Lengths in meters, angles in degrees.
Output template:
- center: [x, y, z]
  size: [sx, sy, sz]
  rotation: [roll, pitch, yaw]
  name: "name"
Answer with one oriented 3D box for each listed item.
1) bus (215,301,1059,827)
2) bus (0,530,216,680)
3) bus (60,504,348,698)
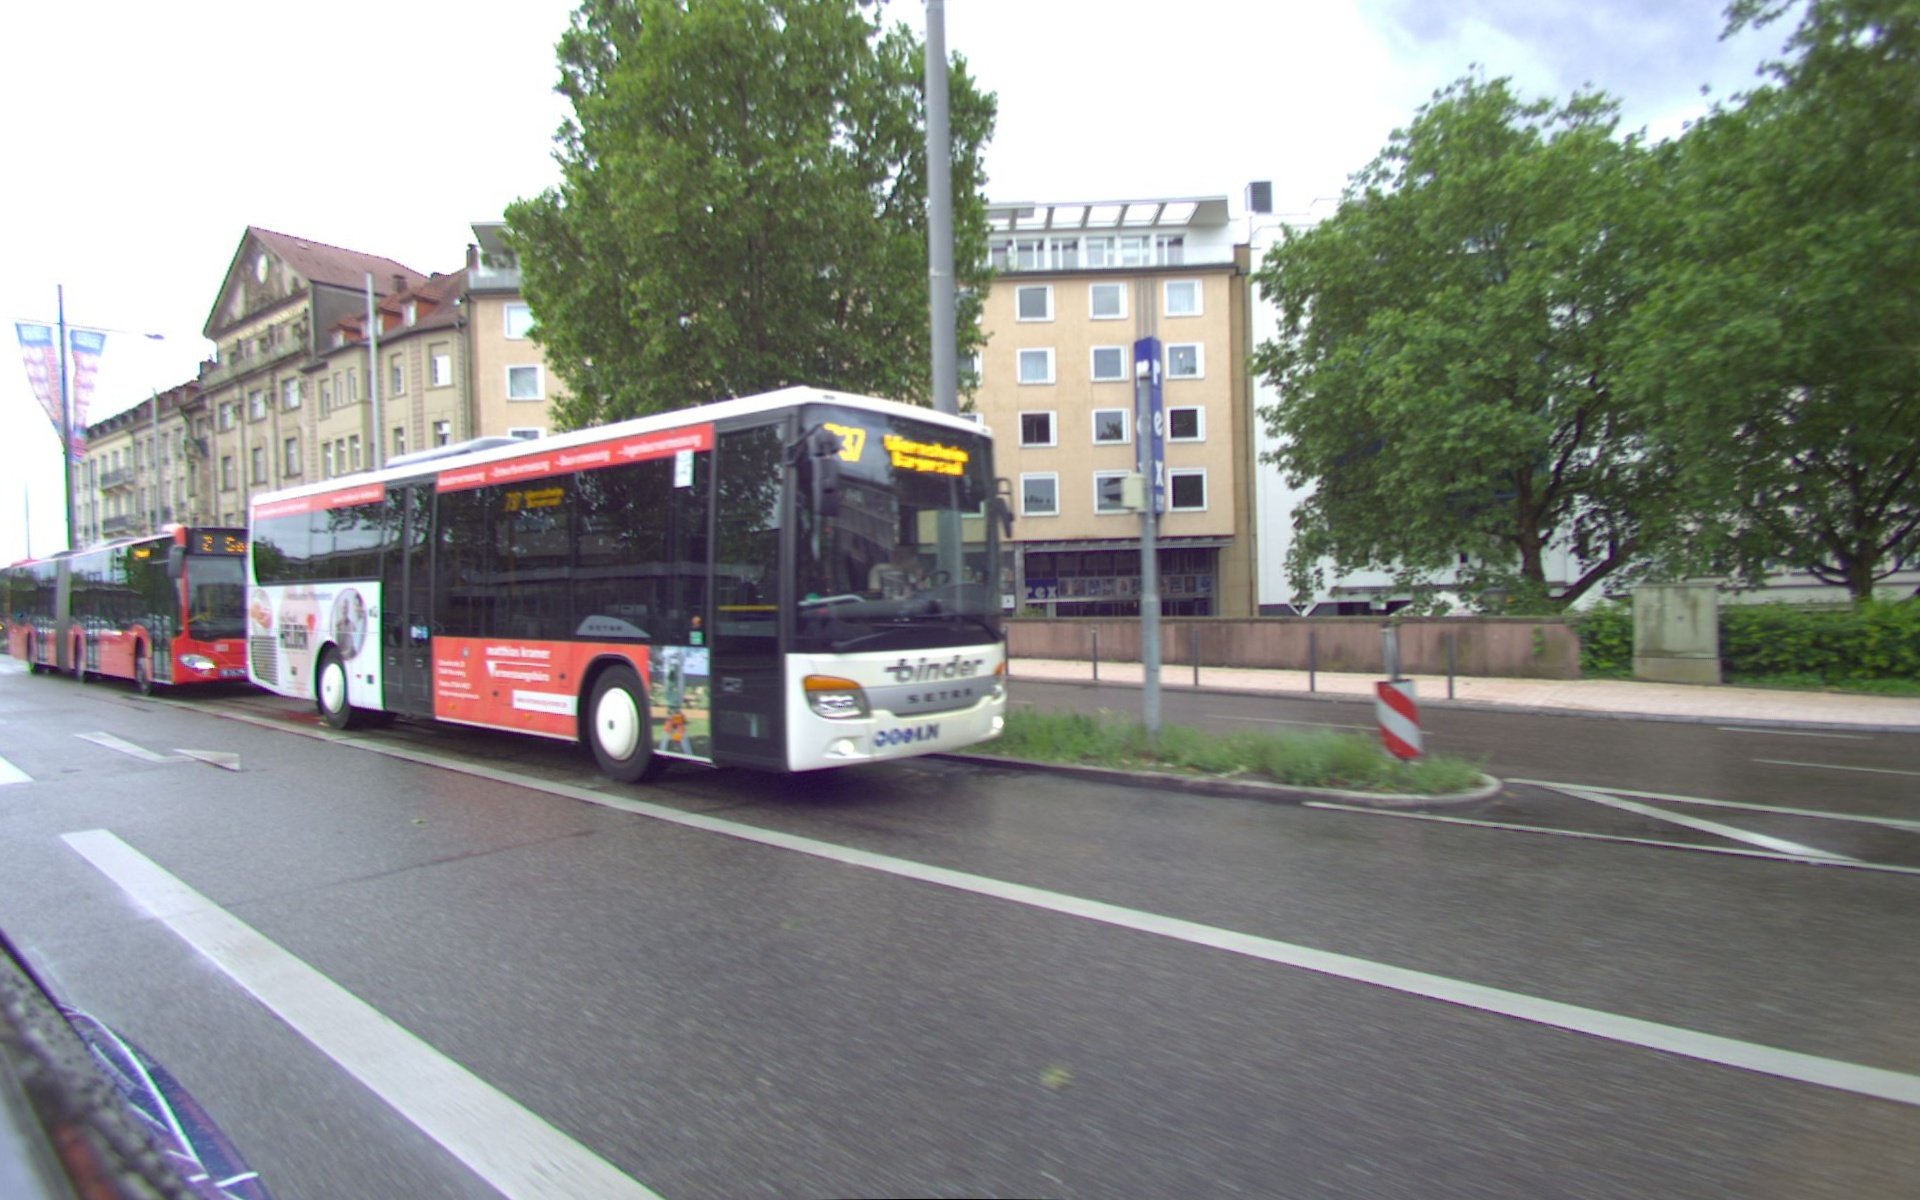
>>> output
- center: [-4.924, -0.145, 11.753]
  size: [12.544, 3.465, 2.926]
  rotation: [-1, -1, 39]
  name: "bus"
- center: [-22.481, 0.201, 26.379]
  size: [9.906, 3.270, 2.781]
  rotation: [-1, -2, 41]
  name: "bus"
- center: [-15.430, 0.101, 20.322]
  size: [8.837, 3.156, 2.724]
  rotation: [-1, -2, 41]
  name: "bus"
